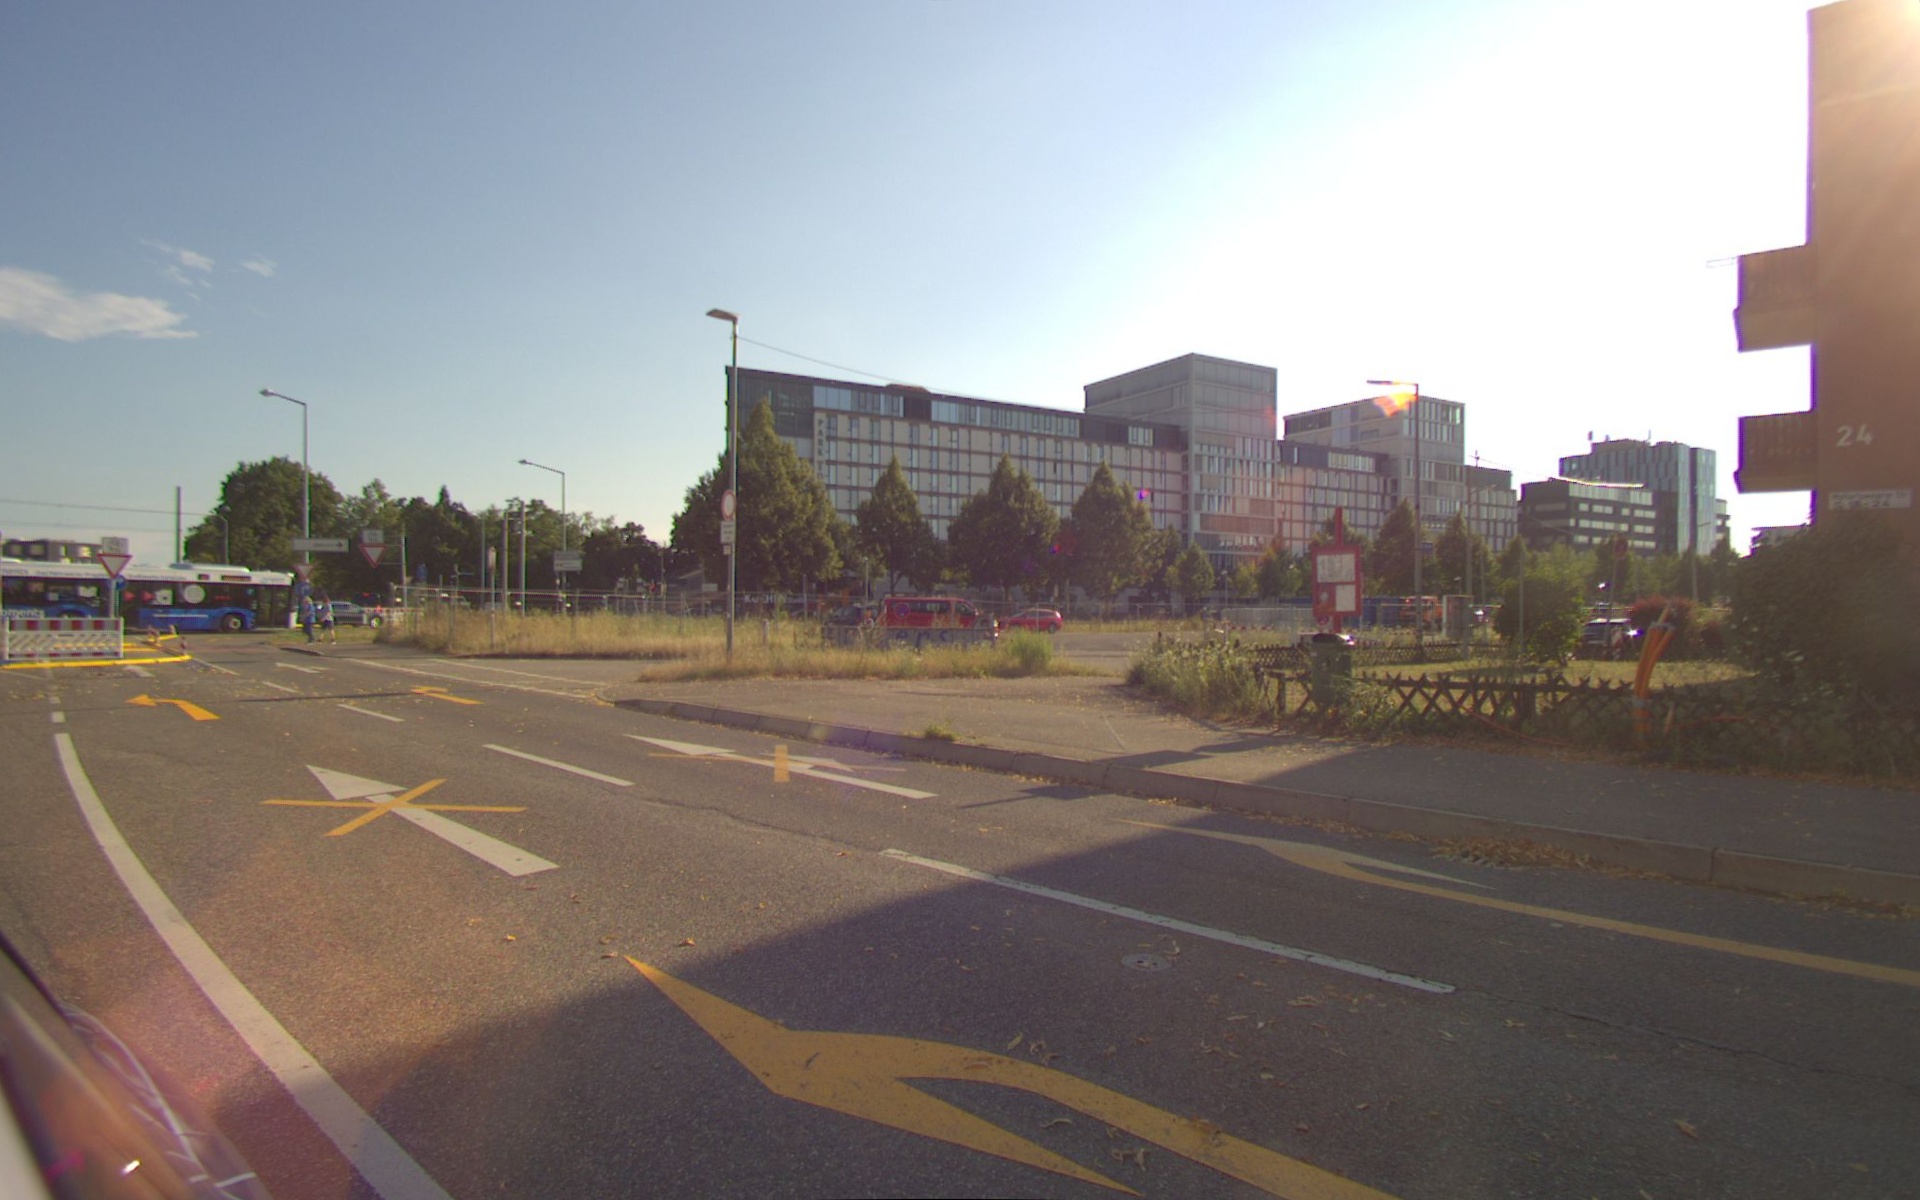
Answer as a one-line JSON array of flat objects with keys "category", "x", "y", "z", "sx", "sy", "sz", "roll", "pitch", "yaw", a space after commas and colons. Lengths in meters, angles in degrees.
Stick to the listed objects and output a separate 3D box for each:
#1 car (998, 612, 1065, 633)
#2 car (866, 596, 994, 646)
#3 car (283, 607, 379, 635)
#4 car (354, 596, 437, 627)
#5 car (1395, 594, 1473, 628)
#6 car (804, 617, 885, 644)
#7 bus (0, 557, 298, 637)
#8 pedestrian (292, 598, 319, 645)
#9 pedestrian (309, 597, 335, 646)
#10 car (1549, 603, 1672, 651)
[{"category": "car", "x": 4.320, "y": 1.355, "z": 60.966, "sx": 3.867, "sy": 1.175, "sz": 1.336, "roll": 1, "pitch": -1, "yaw": -26}, {"category": "car", "x": -1.322, "y": 0.897, "z": 43.279, "sx": 5.227, "sy": 2.029, "sz": 2.004, "roll": 1, "pitch": -1, "yaw": -10}, {"category": "car", "x": -34.596, "y": 1.122, "z": 55.797, "sx": 1.797, "sy": 1.447, "sz": 4.359, "roll": 0, "pitch": 0, "yaw": 19}, {"category": "car", "x": -39.479, "y": 0.821, "z": 70.921, "sx": 2.074, "sy": 2.063, "sz": 5.221, "roll": 0, "pitch": 0, "yaw": 14}, {"category": "car", "x": 36.212, "y": 0.845, "z": 77.331, "sx": 5.833, "sy": 2.459, "sz": 2.542, "roll": 1, "pitch": -1, "yaw": -30}, {"category": "car", "x": -6.187, "y": 1.586, "z": 53.964, "sx": 4.245, "sy": 1.373, "sz": 1.972, "roll": 0, "pitch": -1, "yaw": 43}, {"category": "bus", "x": -35.633, "y": -0.065, "z": 43.547, "sx": 2.656, "sy": 3.085, "sz": 12.052, "roll": 0, "pitch": -1, "yaw": 30}, {"category": "pedestrian", "x": -24.257, "y": 0.779, "z": 37.532, "sx": 0.799, "sy": 1.722, "sz": 0.788, "roll": 1, "pitch": -1, "yaw": -32}, {"category": "pedestrian", "x": -23.402, "y": 0.793, "z": 37.120, "sx": 0.758, "sy": 1.789, "sz": 0.762, "roll": 1, "pitch": -1, "yaw": -30}, {"category": "car", "x": 22.349, "y": 0.909, "z": 34.766, "sx": 3.931, "sy": 1.564, "sz": 2.006, "roll": 1, "pitch": -1, "yaw": -31}]
